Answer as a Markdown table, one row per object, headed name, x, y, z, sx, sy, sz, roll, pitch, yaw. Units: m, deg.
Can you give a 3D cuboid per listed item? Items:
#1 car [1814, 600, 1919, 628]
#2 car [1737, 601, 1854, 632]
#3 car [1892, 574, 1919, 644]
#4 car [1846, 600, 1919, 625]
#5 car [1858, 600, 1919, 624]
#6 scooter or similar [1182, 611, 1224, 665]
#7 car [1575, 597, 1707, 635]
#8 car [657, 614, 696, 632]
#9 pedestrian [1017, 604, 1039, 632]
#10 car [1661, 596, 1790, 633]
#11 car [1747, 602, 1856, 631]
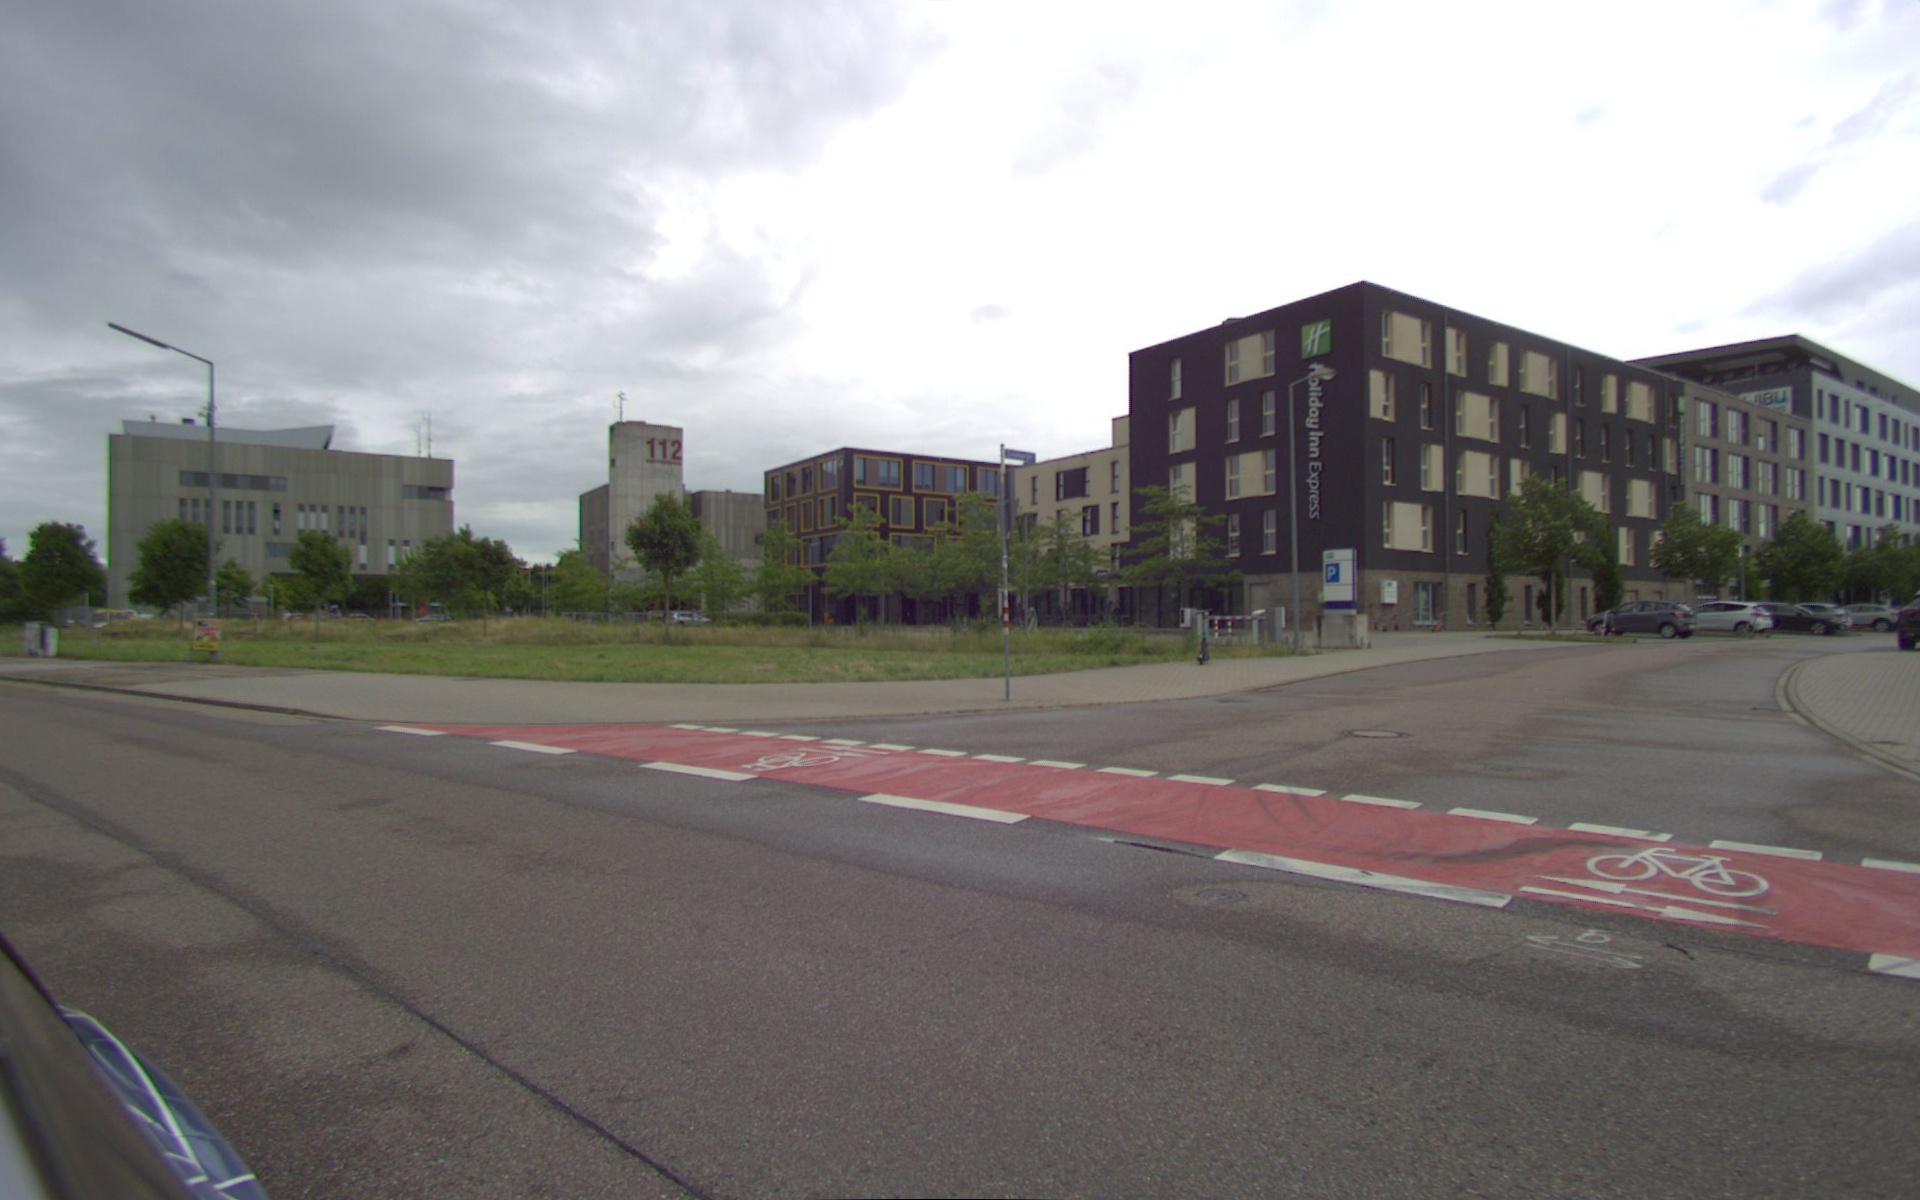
| name | x | y | z | sx | sy | sz | roll | pitch | yaw |
| --- | --- | --- | --- | --- | --- | --- | --- | --- | --- |
| car | 49.642 | 0.778 | 55.495 | 1.717 | 1.469 | 4.009 | 0 | -1 | -37 |
| car | 39.559 | 0.765 | 47.977 | 1.717 | 1.409 | 4.008 | 0 | -1 | -38 |
| car | 27.095 | 0.223 | 27.255 | 3.933 | 1.837 | 2.005 | 0 | -2 | -34 |
| car | 54.753 | 0.734 | 59.264 | 1.717 | 1.469 | 4.009 | 0 | -1 | -37 |
| car | 58.896 | 0.729 | 63.151 | 1.717 | 1.469 | 4.009 | 0 | -1 | -37 |
| scooter or similar | 5.688 | 0.873 | 23.648 | 0.569 | 1.177 | 1.453 | -1 | 0 | 30 |
| car | 27.010 | 0.659 | 40.254 | 1.670 | 1.453 | 4.009 | 0 | -2 | -36 |
| car | -25.733 | 2.069 | 91.832 | 1.968 | 1.535 | 4.007 | 2 | -3 | -39 |
| pedestrian | 3.922 | 1.049 | 58.466 | 0.875 | 1.583 | 0.941 | -2 | -2 | 39 |
| car | 33.242 | 0.654 | 44.039 | 1.969 | 1.529 | 4.158 | 0 | -2 | -42 |
| car | 42.925 | 0.845 | 51.691 | 1.717 | 1.409 | 4.009 | 0 | -1 | -37 |
